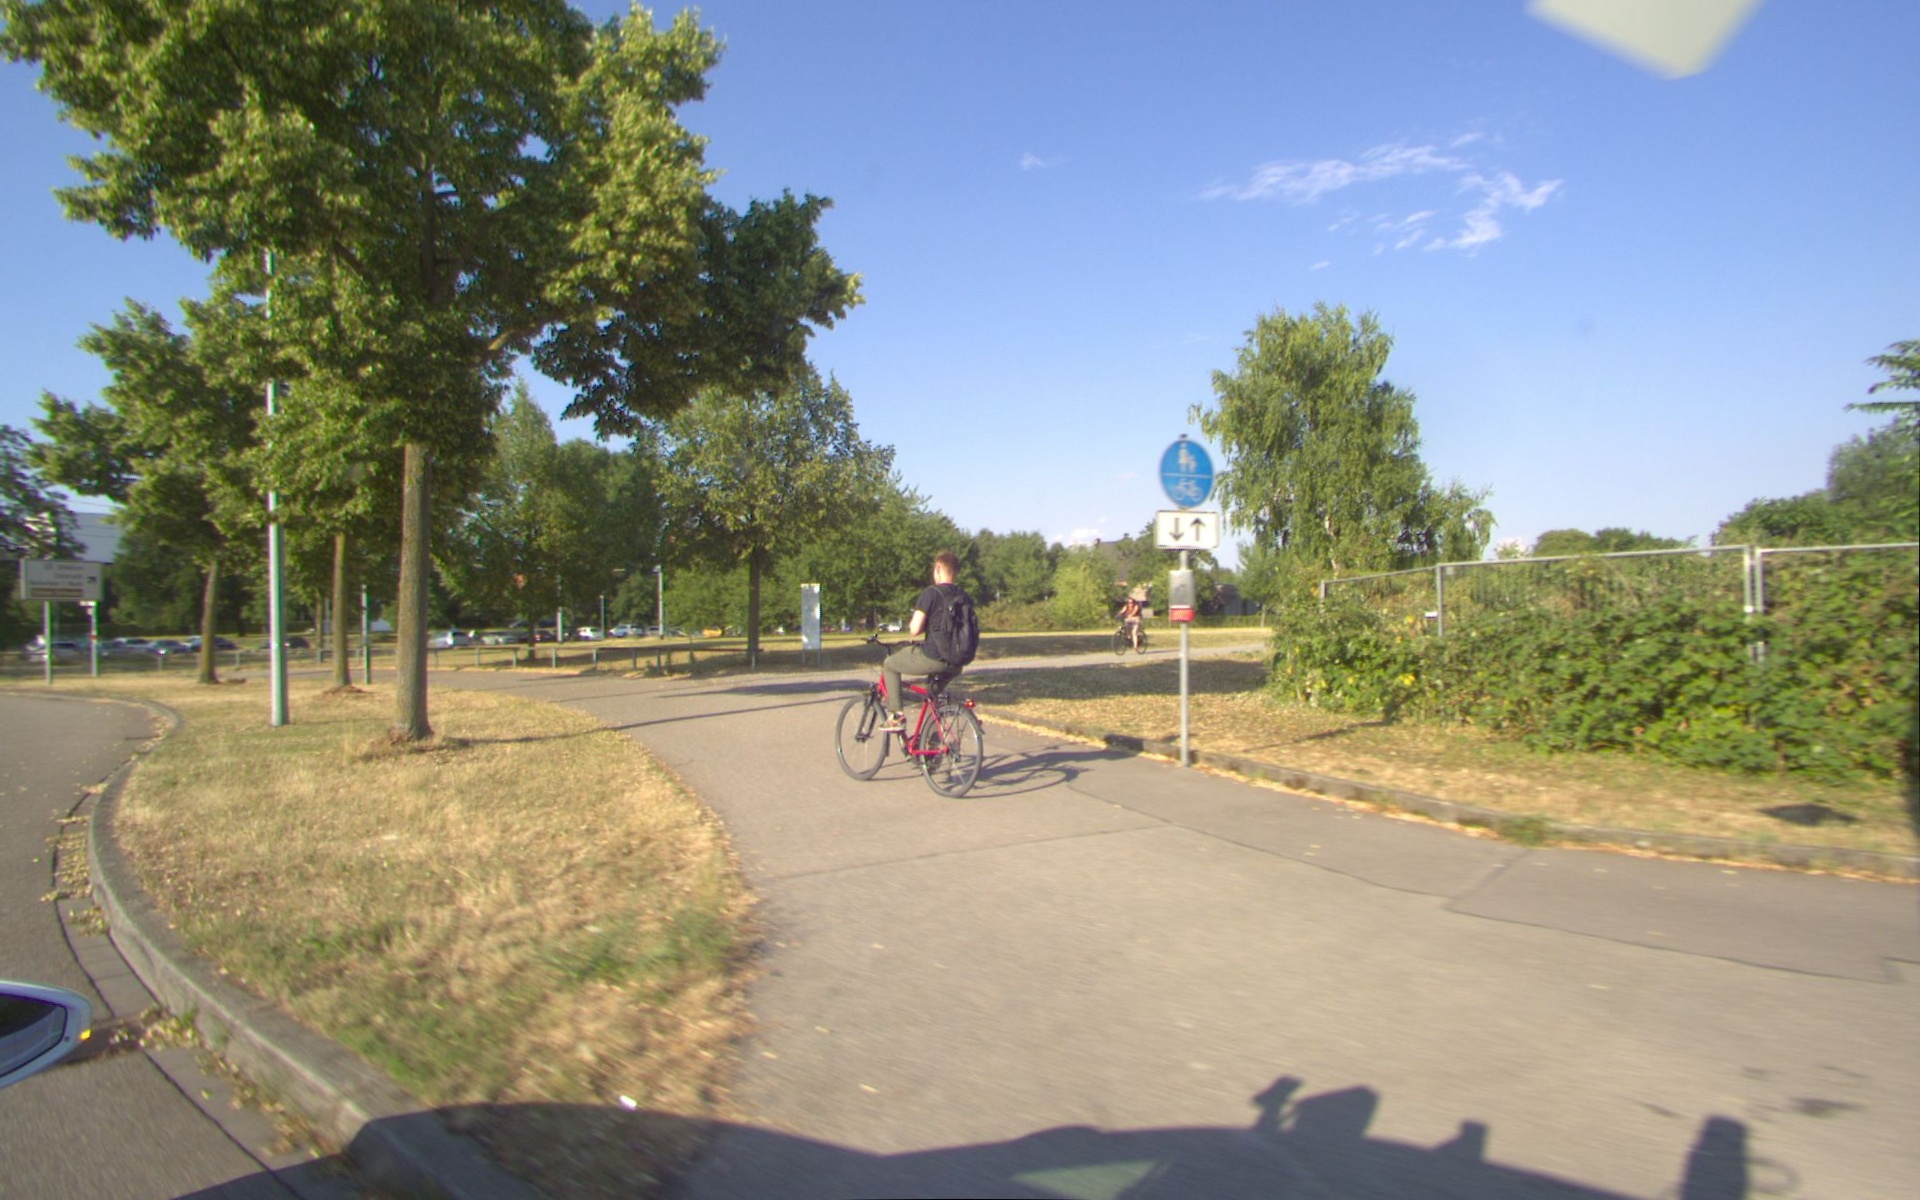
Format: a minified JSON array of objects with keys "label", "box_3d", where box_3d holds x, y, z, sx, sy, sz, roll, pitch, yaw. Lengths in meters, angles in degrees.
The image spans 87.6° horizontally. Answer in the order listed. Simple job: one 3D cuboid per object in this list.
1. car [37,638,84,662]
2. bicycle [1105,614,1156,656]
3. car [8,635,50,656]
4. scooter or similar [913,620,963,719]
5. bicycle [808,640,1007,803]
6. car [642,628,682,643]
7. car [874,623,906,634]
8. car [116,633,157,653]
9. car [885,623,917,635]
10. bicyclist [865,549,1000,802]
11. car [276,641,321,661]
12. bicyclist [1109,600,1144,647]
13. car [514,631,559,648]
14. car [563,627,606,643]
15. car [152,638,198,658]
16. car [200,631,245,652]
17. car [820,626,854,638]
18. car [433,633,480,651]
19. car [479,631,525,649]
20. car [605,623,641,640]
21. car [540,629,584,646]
[{"label":"car","box_3d":[-56.062,3.125,62.380,3.921,1.420,1.595,-2,-1,39]},{"label":"bicycle","box_3d":[5.099,1.042,29.827,1.810,1.172,0.487,-2,1,-43]},{"label":"car","box_3d":[-65.085,3.177,69.989,3.921,1.420,1.595,-2,-1,39]},{"label":"scooter or similar","box_3d":[-0.301,0.876,13.035,0.336,1.175,1.169,-4,2,-14]},{"label":"bicycle","box_3d":[-0.471,0.916,8.084,1.871,1.173,0.412,-2,-1,43]},{"label":"car","box_3d":[-29.859,3.584,100.275,3.946,1.421,1.817,-2,-1,34]},{"label":"car","box_3d":[-9.229,3.774,131.609,3.946,1.421,1.817,-2,-1,34]},{"label":"car","box_3d":[-61.319,3.203,74.546,3.921,1.420,1.595,-2,-1,39]},{"label":"car","box_3d":[-7.862,3.856,133.805,3.946,1.421,1.817,-2,-1,34]},{"label":"bicyclist","box_3d":[-0.215,0.555,7.828,0.820,1.854,0.616,0,2,41]},{"label":"car","box_3d":[-48.068,3.695,72.724,3.921,1.327,1.595,-2,-2,39]},{"label":"bicyclist","box_3d":[4.940,0.699,29.703,0.970,1.380,0.554,0,-1,-43]},{"label":"car","box_3d":[-37.624,3.502,88.906,3.946,1.421,1.817,-2,-1,34]},{"label":"car","box_3d":[-34.960,3.255,93.299,3.946,1.421,1.817,-2,-1,34]},{"label":"car","box_3d":[-52.546,3.204,67.029,3.921,1.236,1.595,-2,-2,39]},{"label":"car","box_3d":[-50.768,2.870,68.909,3.921,1.420,1.595,-2,-1,39]},{"label":"car","box_3d":[-15.067,3.945,123.020,3.946,1.421,1.817,-2,-1,34]},{"label":"car","box_3d":[-41.777,3.514,82.997,3.946,1.421,1.817,-2,-1,34]},{"label":"car","box_3d":[-39.740,3.458,86.845,3.946,1.421,1.817,-2,-1,34]},{"label":"car","box_3d":[-37.106,3.460,110.237,3.946,1.693,1.817,-2,-1,34]},{"label":"car","box_3d":[-36.139,3.396,90.821,3.946,1.421,1.817,-2,-1,34]}]
